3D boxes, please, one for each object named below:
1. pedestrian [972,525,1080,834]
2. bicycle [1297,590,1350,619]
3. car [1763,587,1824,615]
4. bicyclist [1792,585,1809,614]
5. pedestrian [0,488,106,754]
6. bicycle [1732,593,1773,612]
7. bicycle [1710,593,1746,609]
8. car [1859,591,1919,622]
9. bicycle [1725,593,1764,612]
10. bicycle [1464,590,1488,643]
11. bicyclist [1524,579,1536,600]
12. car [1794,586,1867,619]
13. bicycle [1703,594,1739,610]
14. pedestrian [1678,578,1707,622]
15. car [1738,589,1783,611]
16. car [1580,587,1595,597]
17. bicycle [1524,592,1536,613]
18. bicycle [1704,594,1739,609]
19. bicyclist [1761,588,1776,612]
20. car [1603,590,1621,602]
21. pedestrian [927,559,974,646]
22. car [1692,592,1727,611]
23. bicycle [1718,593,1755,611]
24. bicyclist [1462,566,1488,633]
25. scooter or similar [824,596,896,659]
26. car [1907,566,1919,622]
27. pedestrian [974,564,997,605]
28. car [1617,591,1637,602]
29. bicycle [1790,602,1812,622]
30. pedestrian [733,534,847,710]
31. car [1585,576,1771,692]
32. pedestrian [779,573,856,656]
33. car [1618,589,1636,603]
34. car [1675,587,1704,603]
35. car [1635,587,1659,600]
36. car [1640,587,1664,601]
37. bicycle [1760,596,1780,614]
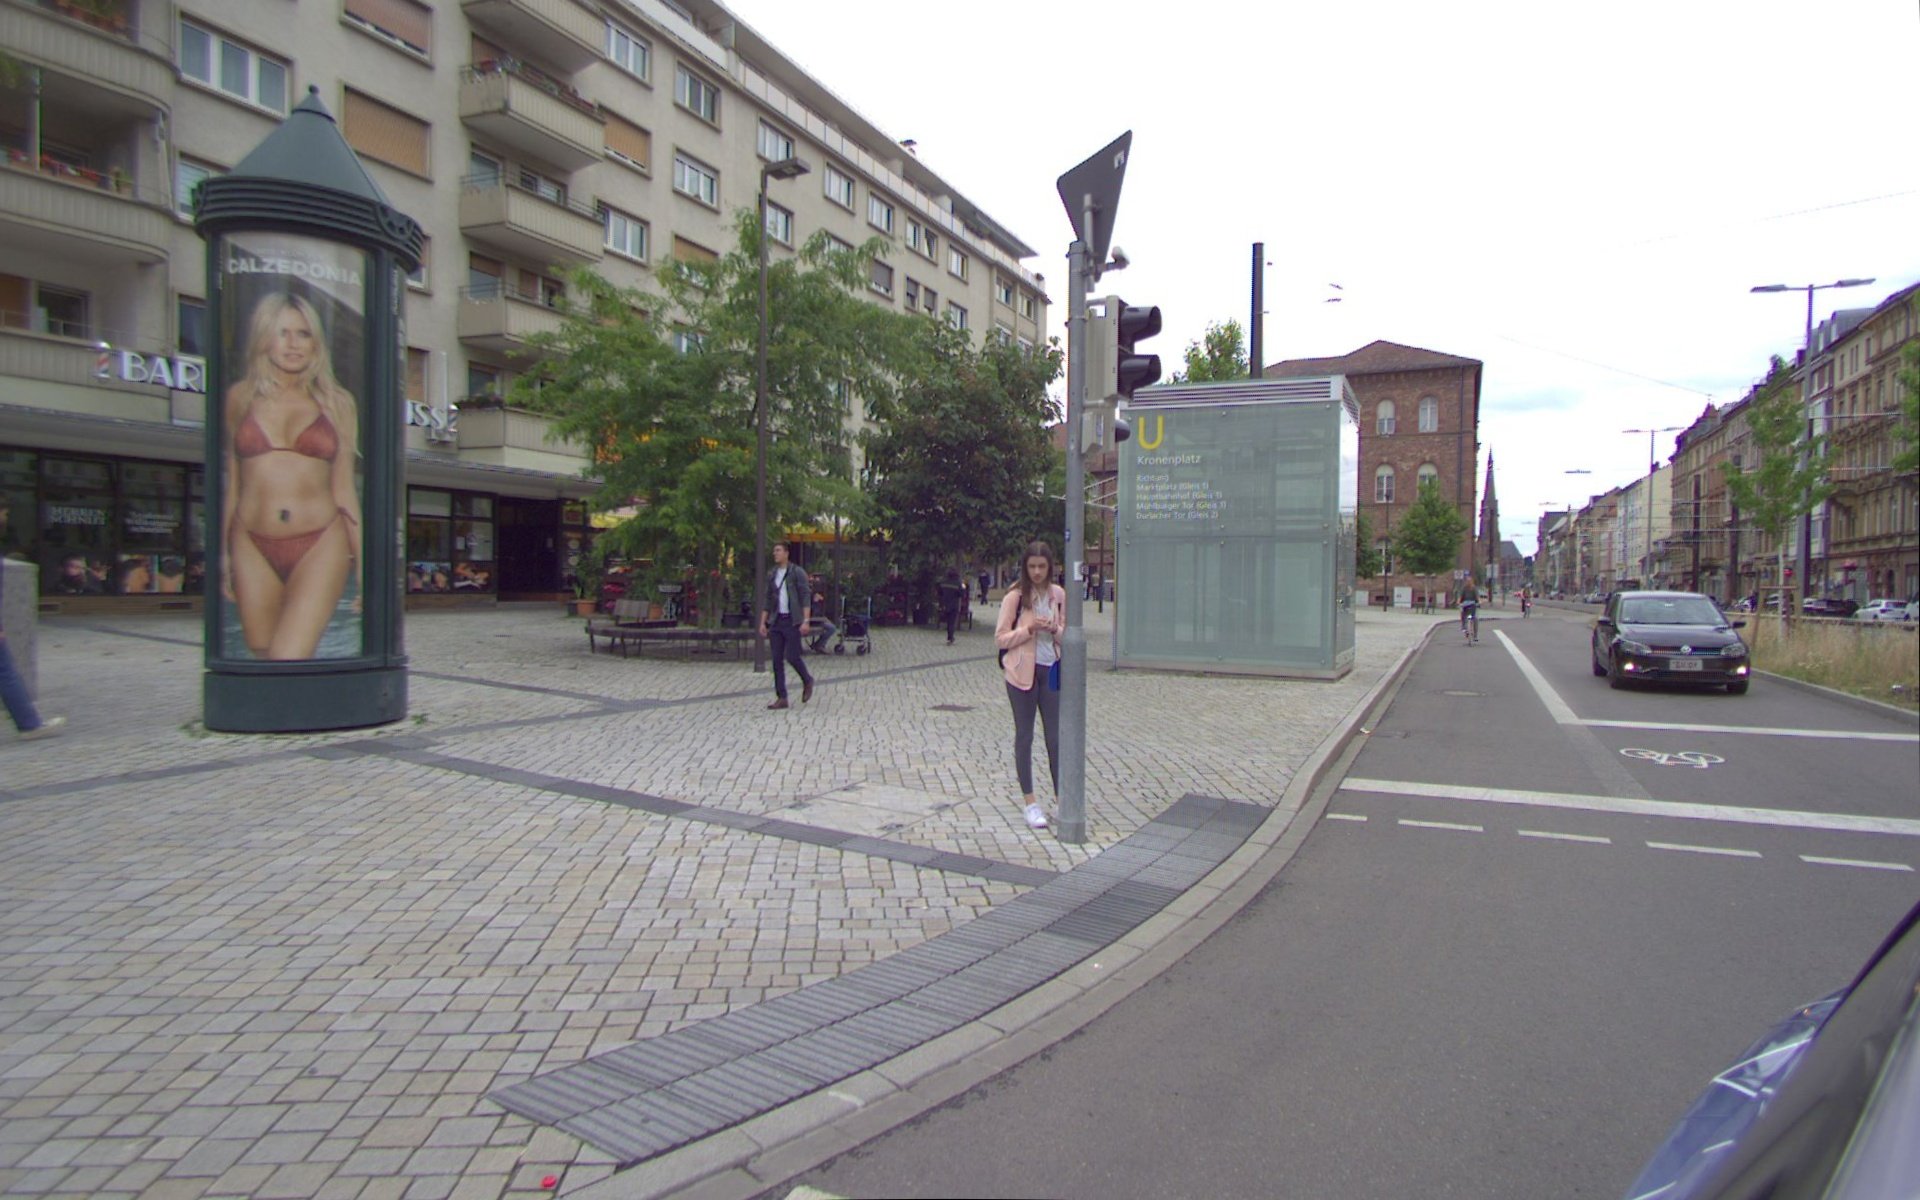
[{"bbox_3d":[0.416,0.454,6.216,0.517,1.784,0.598,0,0,20],"label":"pedestrian"},{"bbox_3d":[14.602,0.154,40.707,1.910,1.137,0.636,0,0,39],"label":"bicycle"},{"bbox_3d":[55.064,0.027,66.951,1.800,1.711,4.990,2,1,24],"label":"car"},{"bbox_3d":[45.599,-0.054,54.911,0.488,1.560,0.805,1,1,26],"label":"bicyclist"},{"bbox_3d":[-7.088,0.134,7.406,0.801,1.885,1.137,3,2,37],"label":"pedestrian"},{"bbox_3d":[60.147,0.172,76.843,2.269,1.345,0.660,3,2,28],"label":"bicycle"},{"bbox_3d":[64.307,0.053,84.756,2.269,1.218,0.698,3,2,28],"label":"bicycle"},{"bbox_3d":[47.023,0.303,50.740,1.759,1.440,4.128,4,2,25],"label":"car"},{"bbox_3d":[61.349,0.160,79.156,2.269,1.345,0.660,3,2,28],"label":"bicycle"},{"bbox_3d":[13.336,0.403,26.174,0.519,1.276,1.923,1,1,27],"label":"bicycle"},{"bbox_3d":[32.897,-0.603,58.399,0.582,1.186,0.656,1,1,27],"label":"bicyclist"},{"bbox_3d":[50.822,0.096,59.195,1.906,1.710,5.008,4,2,25],"label":"car"},{"bbox_3d":[64.680,0.133,86.015,2.269,1.218,0.698,3,2,28],"label":"bicycle"},{"bbox_3d":[32.845,0.002,45.414,0.864,1.925,0.766,2,1,26],"label":"pedestrian"},{"bbox_3d":[58.478,0.013,73.990,1.732,1.507,3.885,2,1,26],"label":"car"},{"bbox_3d":[113.743,-1.445,183.475,1.852,1.582,3.962,3,2,27],"label":"car"},{"bbox_3d":[32.832,0.118,58.329,0.468,1.173,2.252,1,1,26],"label":"bicycle"},{"bbox_3d":[65.109,0.113,86.555,2.268,1.218,0.542,1,0,29],"label":"bicycle"},{"bbox_3d":[48.306,-0.018,60.455,0.475,1.424,0.805,1,1,26],"label":"bicyclist"},{"bbox_3d":[100.522,-0.650,156.146,1.911,1.754,3.792,0,1,27],"label":"car"},{"bbox_3d":[-0.188,0.033,20.690,0.620,1.705,0.863,2,2,23],"label":"pedestrian"},{"bbox_3d":[66.745,0.098,90.187,1.732,1.552,4.186,2,1,26],"label":"car"},{"bbox_3d":[63.132,0.136,82.303,2.269,1.345,0.660,3,2,28],"label":"bicycle"},{"bbox_3d":[13.327,-0.016,26.182,0.566,1.705,0.786,1,1,29],"label":"bicyclist"},{"bbox_3d":[-1.726,0.445,17.266,0.710,0.960,1.596,1,2,-24],"label":"scooter or similar"},{"bbox_3d":[43.549,-0.210,43.772,2.039,2.517,5.615,4,2,26],"label":"car"},{"bbox_3d":[1.122,-0.701,44.753,0.703,1.773,0.777,2,2,-24],"label":"pedestrian"},{"bbox_3d":[88.090,-0.440,133.706,1.634,1.398,3.408,2,1,24],"label":"car"},{"bbox_3d":[45.532,0.639,54.810,0.473,1.033,1.895,1,1,26],"label":"bicycle"},{"bbox_3d":[-1.875,0.213,11.264,0.709,1.824,1.068,4,3,26],"label":"pedestrian"},{"bbox_3d":[10.962,0.429,15.713,1.731,1.566,3.619,0,1,25],"label":"car"},{"bbox_3d":[-2.413,0.224,17.118,1.040,1.313,0.724,3,2,33],"label":"pedestrian"},{"bbox_3d":[90.545,-0.512,137.357,1.693,1.779,3.880,2,2,28],"label":"car"},{"bbox_3d":[71.407,-0.481,99.130,1.733,1.507,3.882,2,1,28],"label":"car"},{"bbox_3d":[81.690,-0.765,120.361,1.813,1.540,4.501,2,1,27],"label":"car"},{"bbox_3d":[79.481,-0.716,116.308,1.732,1.483,4.009,2,1,26],"label":"car"},{"bbox_3d":[48.214,0.290,60.276,0.476,1.033,1.895,1,1,25],"label":"bicycle"}]
